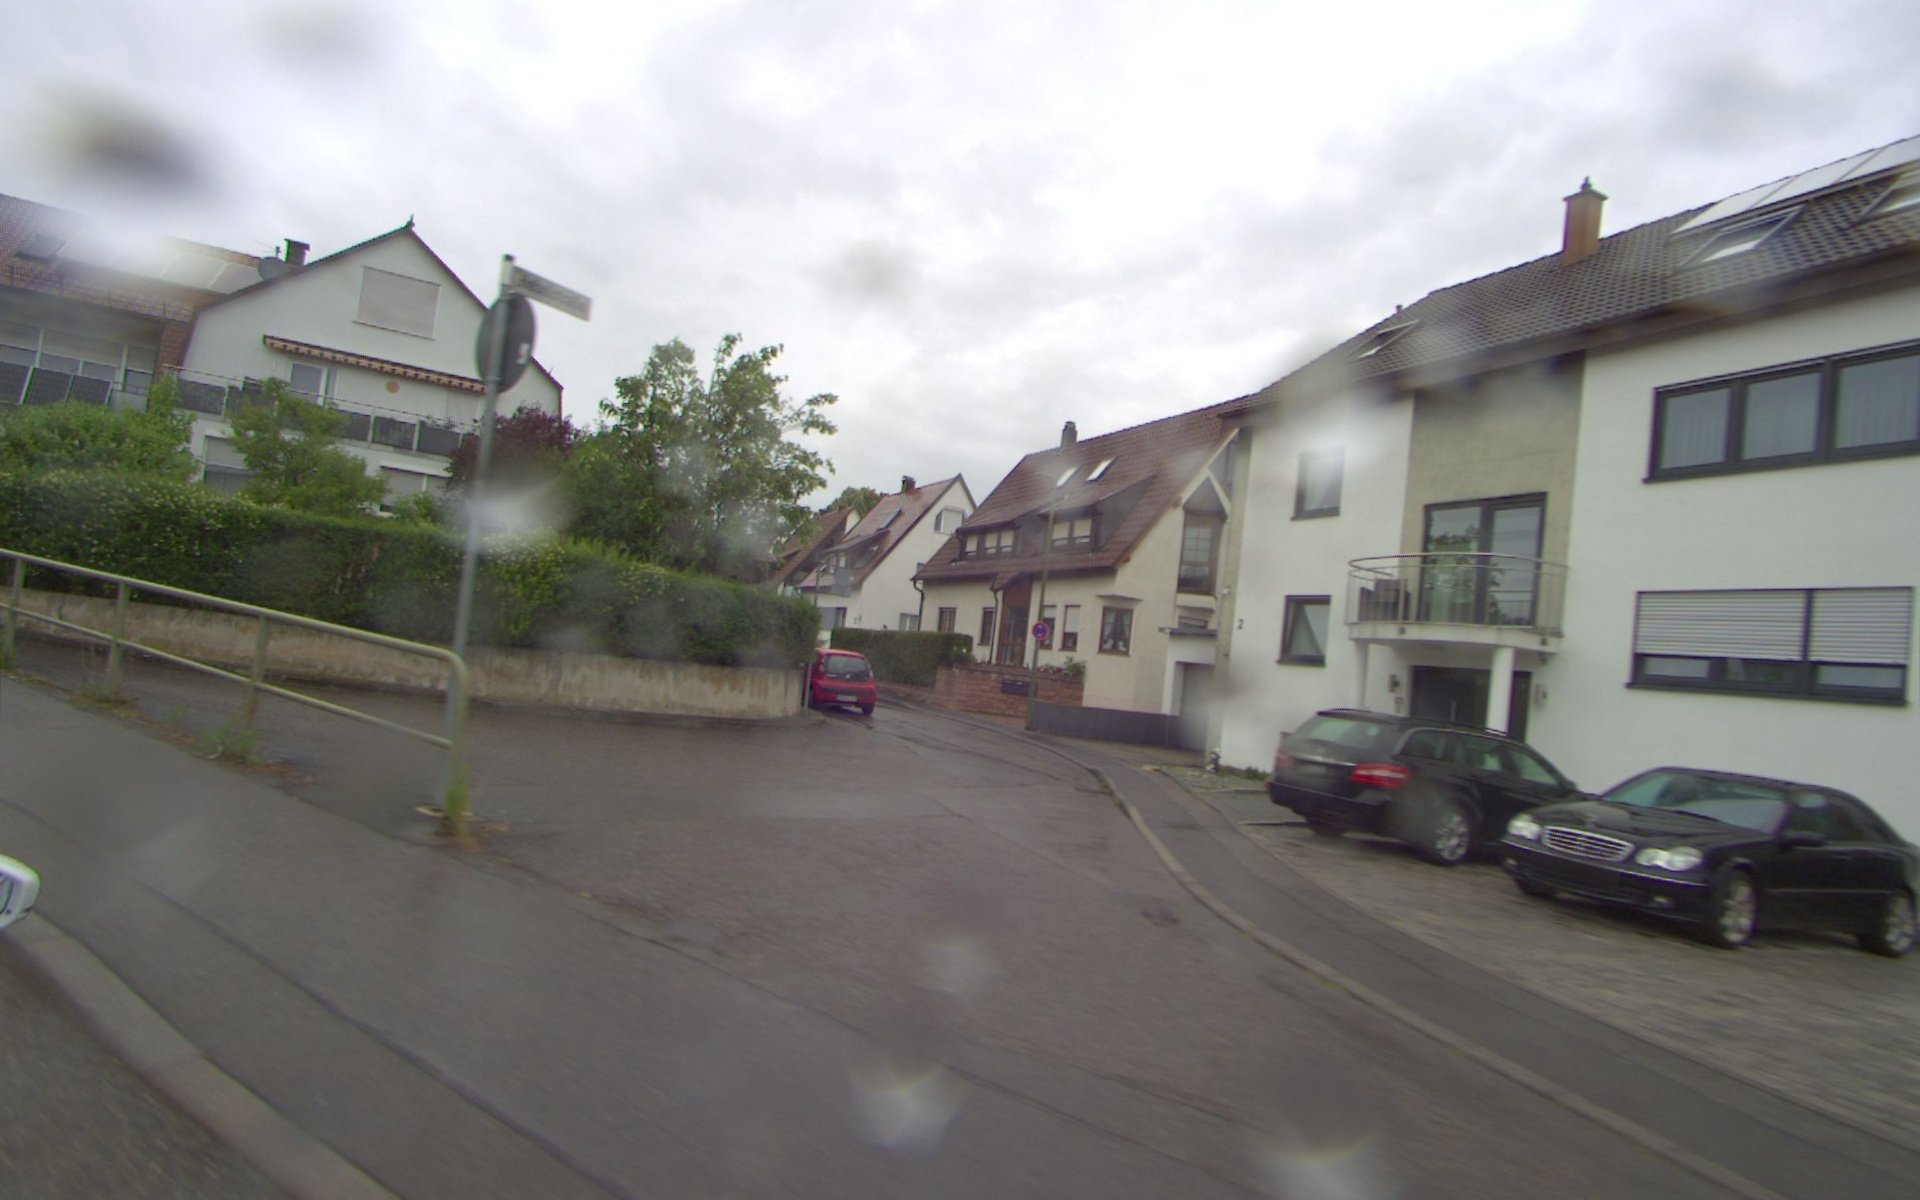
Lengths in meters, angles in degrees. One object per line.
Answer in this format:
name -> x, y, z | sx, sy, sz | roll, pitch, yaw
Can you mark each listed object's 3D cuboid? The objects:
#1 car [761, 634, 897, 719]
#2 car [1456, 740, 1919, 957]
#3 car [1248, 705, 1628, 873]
car -> -3.385, 1.859, 25.254 | 2.004, 1.555, 4.193 | 9, -2, -26
car -> 6.775, 2.239, 9.024 | 4.348, 1.337, 1.776 | 10, -4, -25
car -> 5.494, 2.161, 11.514 | 3.953, 1.479, 1.864 | 9, -6, -26
